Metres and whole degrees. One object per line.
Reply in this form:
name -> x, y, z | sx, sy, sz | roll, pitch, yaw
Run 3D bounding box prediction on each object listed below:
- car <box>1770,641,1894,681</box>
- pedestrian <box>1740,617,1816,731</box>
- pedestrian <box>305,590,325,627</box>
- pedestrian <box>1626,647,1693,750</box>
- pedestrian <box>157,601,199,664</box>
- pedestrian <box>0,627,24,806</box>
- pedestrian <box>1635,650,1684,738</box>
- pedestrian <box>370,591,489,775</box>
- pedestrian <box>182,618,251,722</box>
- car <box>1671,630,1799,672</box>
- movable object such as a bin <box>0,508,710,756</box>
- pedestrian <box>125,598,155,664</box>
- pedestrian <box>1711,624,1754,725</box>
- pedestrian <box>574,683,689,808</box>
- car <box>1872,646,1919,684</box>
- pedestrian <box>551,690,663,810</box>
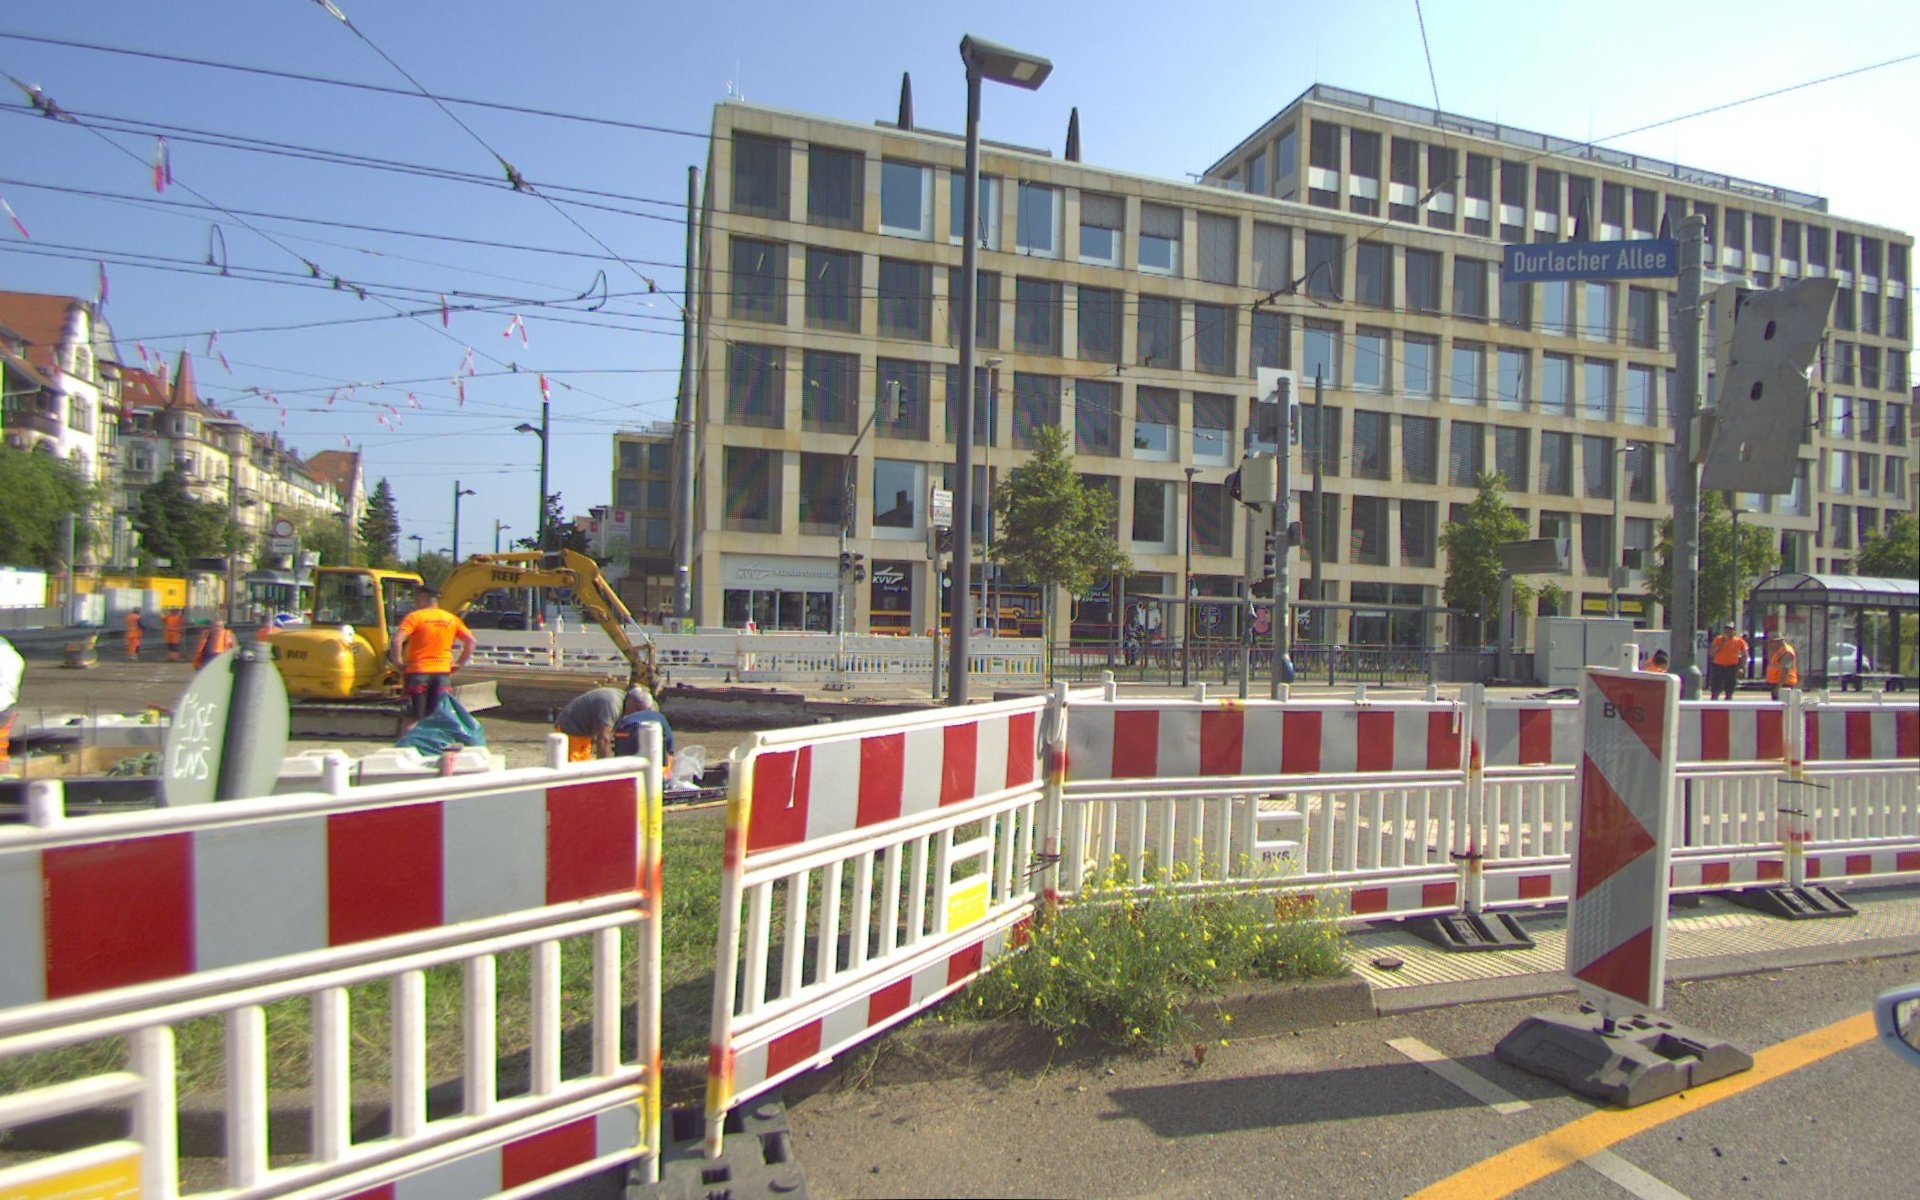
car -> 33.395, 2.320, 38.465 | 4.305, 1.426, 1.682 | 2, -2, -19
pedestrian -> 14.634, 1.307, 17.989 | 0.773, 1.976, 0.725 | 1, -1, -3
pedestrian -> -36.172, 0.467, 56.304 | 0.625, 2.040, 0.678 | 2, 0, -5
pedestrian -> 11.962, 1.667, 17.201 | 0.756, 1.685, 0.669 | 1, -1, 16
pedestrian -> -25.756, 1.056, 33.092 | 0.811, 2.040, 0.670 | 2, 0, 6
pedestrian -> -8.960, 1.056, 9.183 | 0.553, 1.587, 0.693 | 1, 0, -45
pedestrian -> 12.939, 1.721, 18.578 | 0.622, 1.575, 0.632 | 2, -1, -44
pedestrian -> -4.814, 0.725, 9.126 | 0.813, 1.587, 0.549 | 2, -1, -44
pedestrian -> -13.147, 1.222, 17.760 | 0.659, 1.772, 0.830 | 0, -1, 42
car -> 28.383, 1.865, 36.802 | 3.938, 1.422, 1.900 | 2, -2, -19
movable object such as a bin -> -8.254, 0.572, 15.226 | 8.343, 2.997, 3.611 | 3, 0, -18
pedestrian -> -26.477, 1.002, 32.417 | 0.664, 2.092, 0.888 | 2, -1, -41
pedestrian -> 14.398, 1.366, 18.718 | 0.617, 1.840, 0.638 | 0, -1, 40
pedestrian -> -2.652, 1.166, 8.167 | 0.807, 0.938, 0.511 | 1, -1, -11
car -> 38.977, 2.624, 40.414 | 4.019, 1.426, 1.682 | 2, -2, -19
pedestrian -> -3.222, 1.340, 9.164 | 0.922, 1.001, 0.509 | 1, -1, -24
